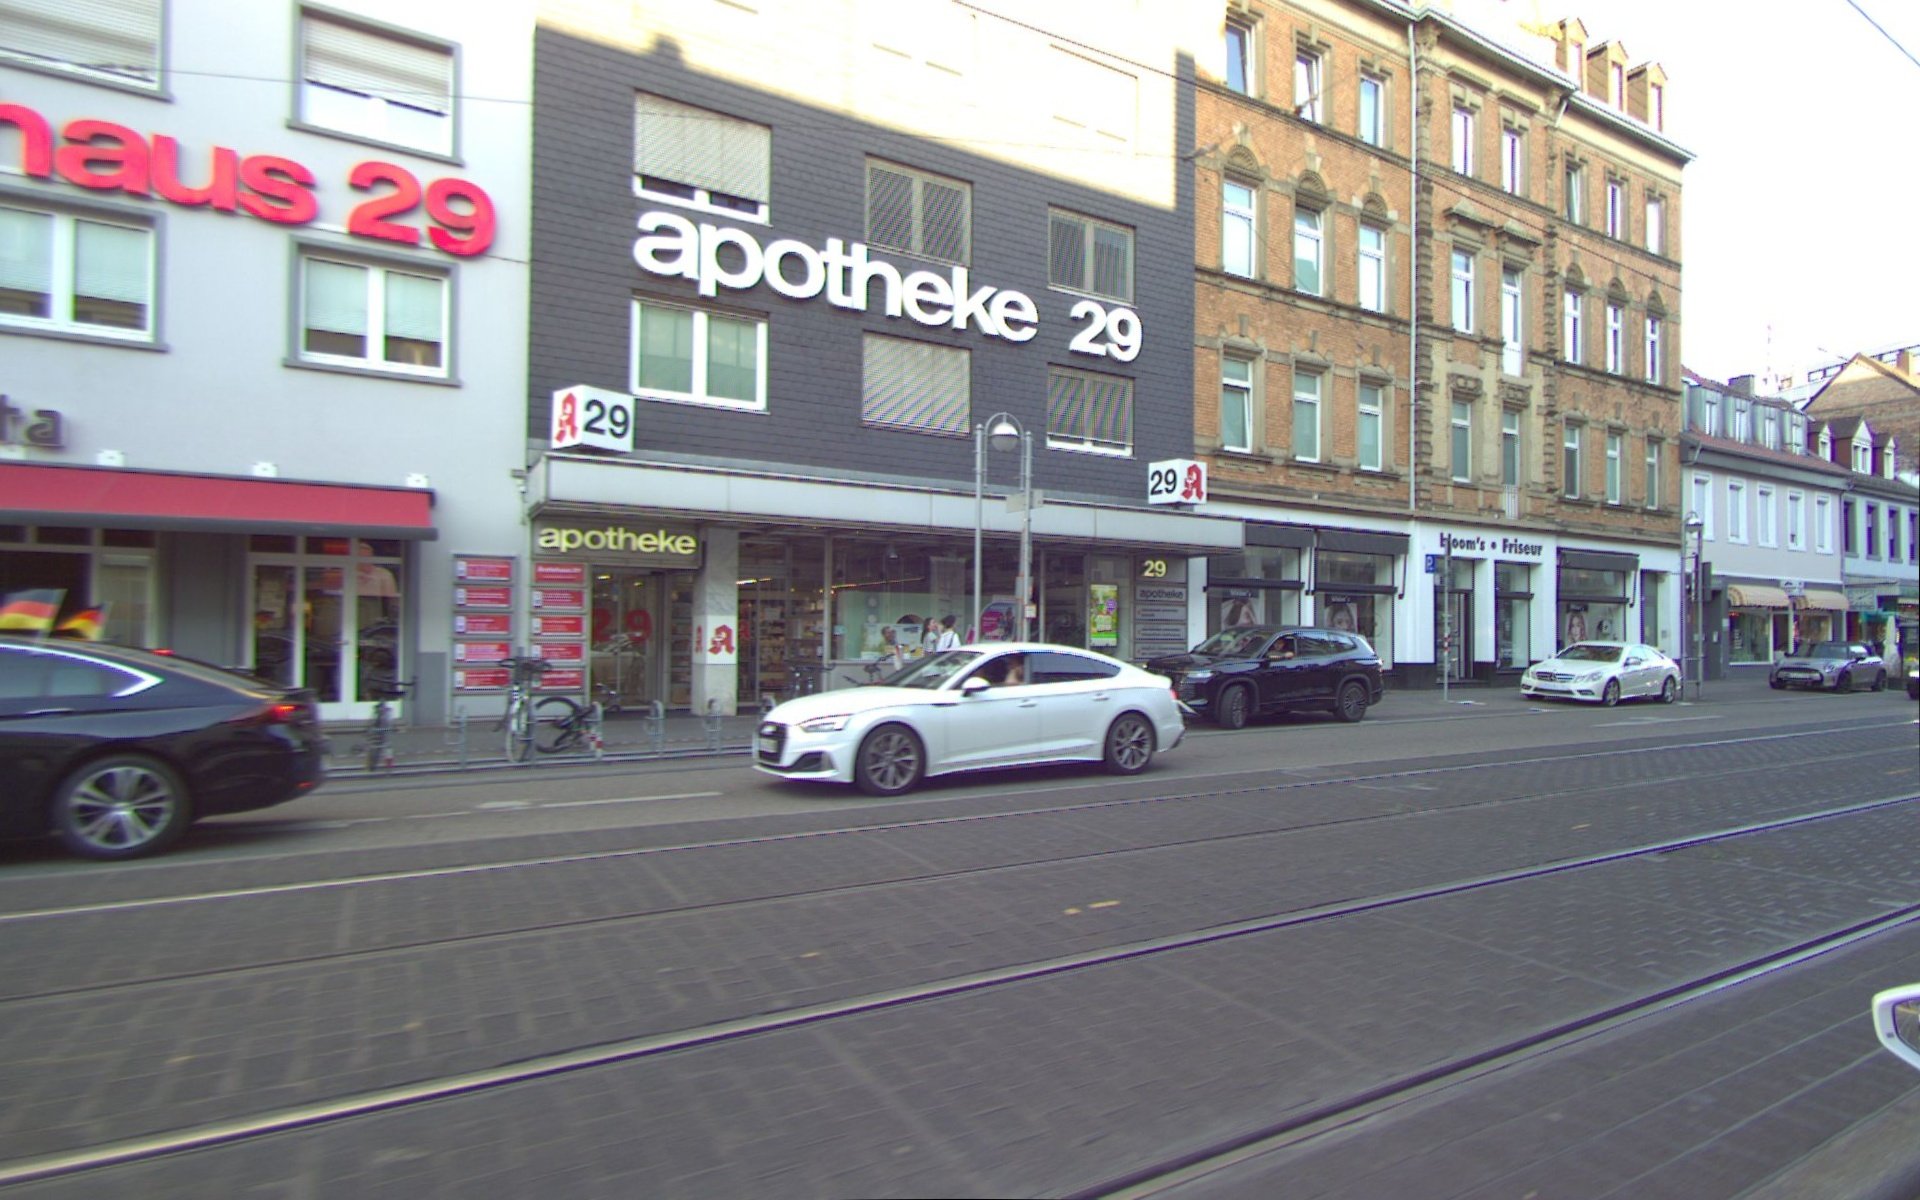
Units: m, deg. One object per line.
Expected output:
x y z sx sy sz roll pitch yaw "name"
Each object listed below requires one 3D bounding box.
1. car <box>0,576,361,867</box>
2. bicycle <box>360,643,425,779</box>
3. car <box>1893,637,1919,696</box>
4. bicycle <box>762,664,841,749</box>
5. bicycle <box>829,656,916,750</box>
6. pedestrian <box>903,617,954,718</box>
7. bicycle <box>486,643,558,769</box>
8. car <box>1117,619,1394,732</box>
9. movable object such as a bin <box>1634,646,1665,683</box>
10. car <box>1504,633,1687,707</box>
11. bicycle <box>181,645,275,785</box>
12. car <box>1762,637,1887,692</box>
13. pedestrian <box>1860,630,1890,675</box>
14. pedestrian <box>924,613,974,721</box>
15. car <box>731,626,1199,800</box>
-6.750 0.769 6.645 4.671 1.750 1.985 2 -4 -29 "car"
-6.245 1.151 11.065 0.546 1.240 2.102 1 0 -29 "bicycle"
26.282 1.719 26.067 4.599 1.472 1.982 2 -2 -33 "car"
-2.164 1.404 13.560 0.450 0.924 1.796 0 1 -29 "bicycle"
-1.224 1.364 13.705 0.483 1.061 1.822 0 1 -29 "bicycle"
-0.542 1.138 17.201 0.617 1.683 0.679 1 -1 -30 "pedestrian"
-5.210 1.188 11.876 0.546 1.240 2.102 1 0 -29 "bicycle"
5.141 1.219 17.362 4.588 1.697 1.922 1 0 -28 "car"
20.549 1.909 29.949 0.652 1.057 0.515 1 0 -31 "movable object such as a bin"
14.856 1.578 23.406 4.561 1.472 1.857 2 1 -33 "car"
-7.562 1.129 10.438 0.546 1.227 1.882 1 0 -29 "bicycle"
25.394 1.853 29.487 3.767 1.459 1.591 2 0 -30 "car"
34.231 1.962 37.585 0.686 1.666 0.659 1 -1 -30 "pedestrian"
-0.185 1.079 16.455 0.595 1.722 0.617 1 -1 -30 "pedestrian"
0.134 1.075 10.596 4.603 1.471 1.984 2 -4 -31 "car"
